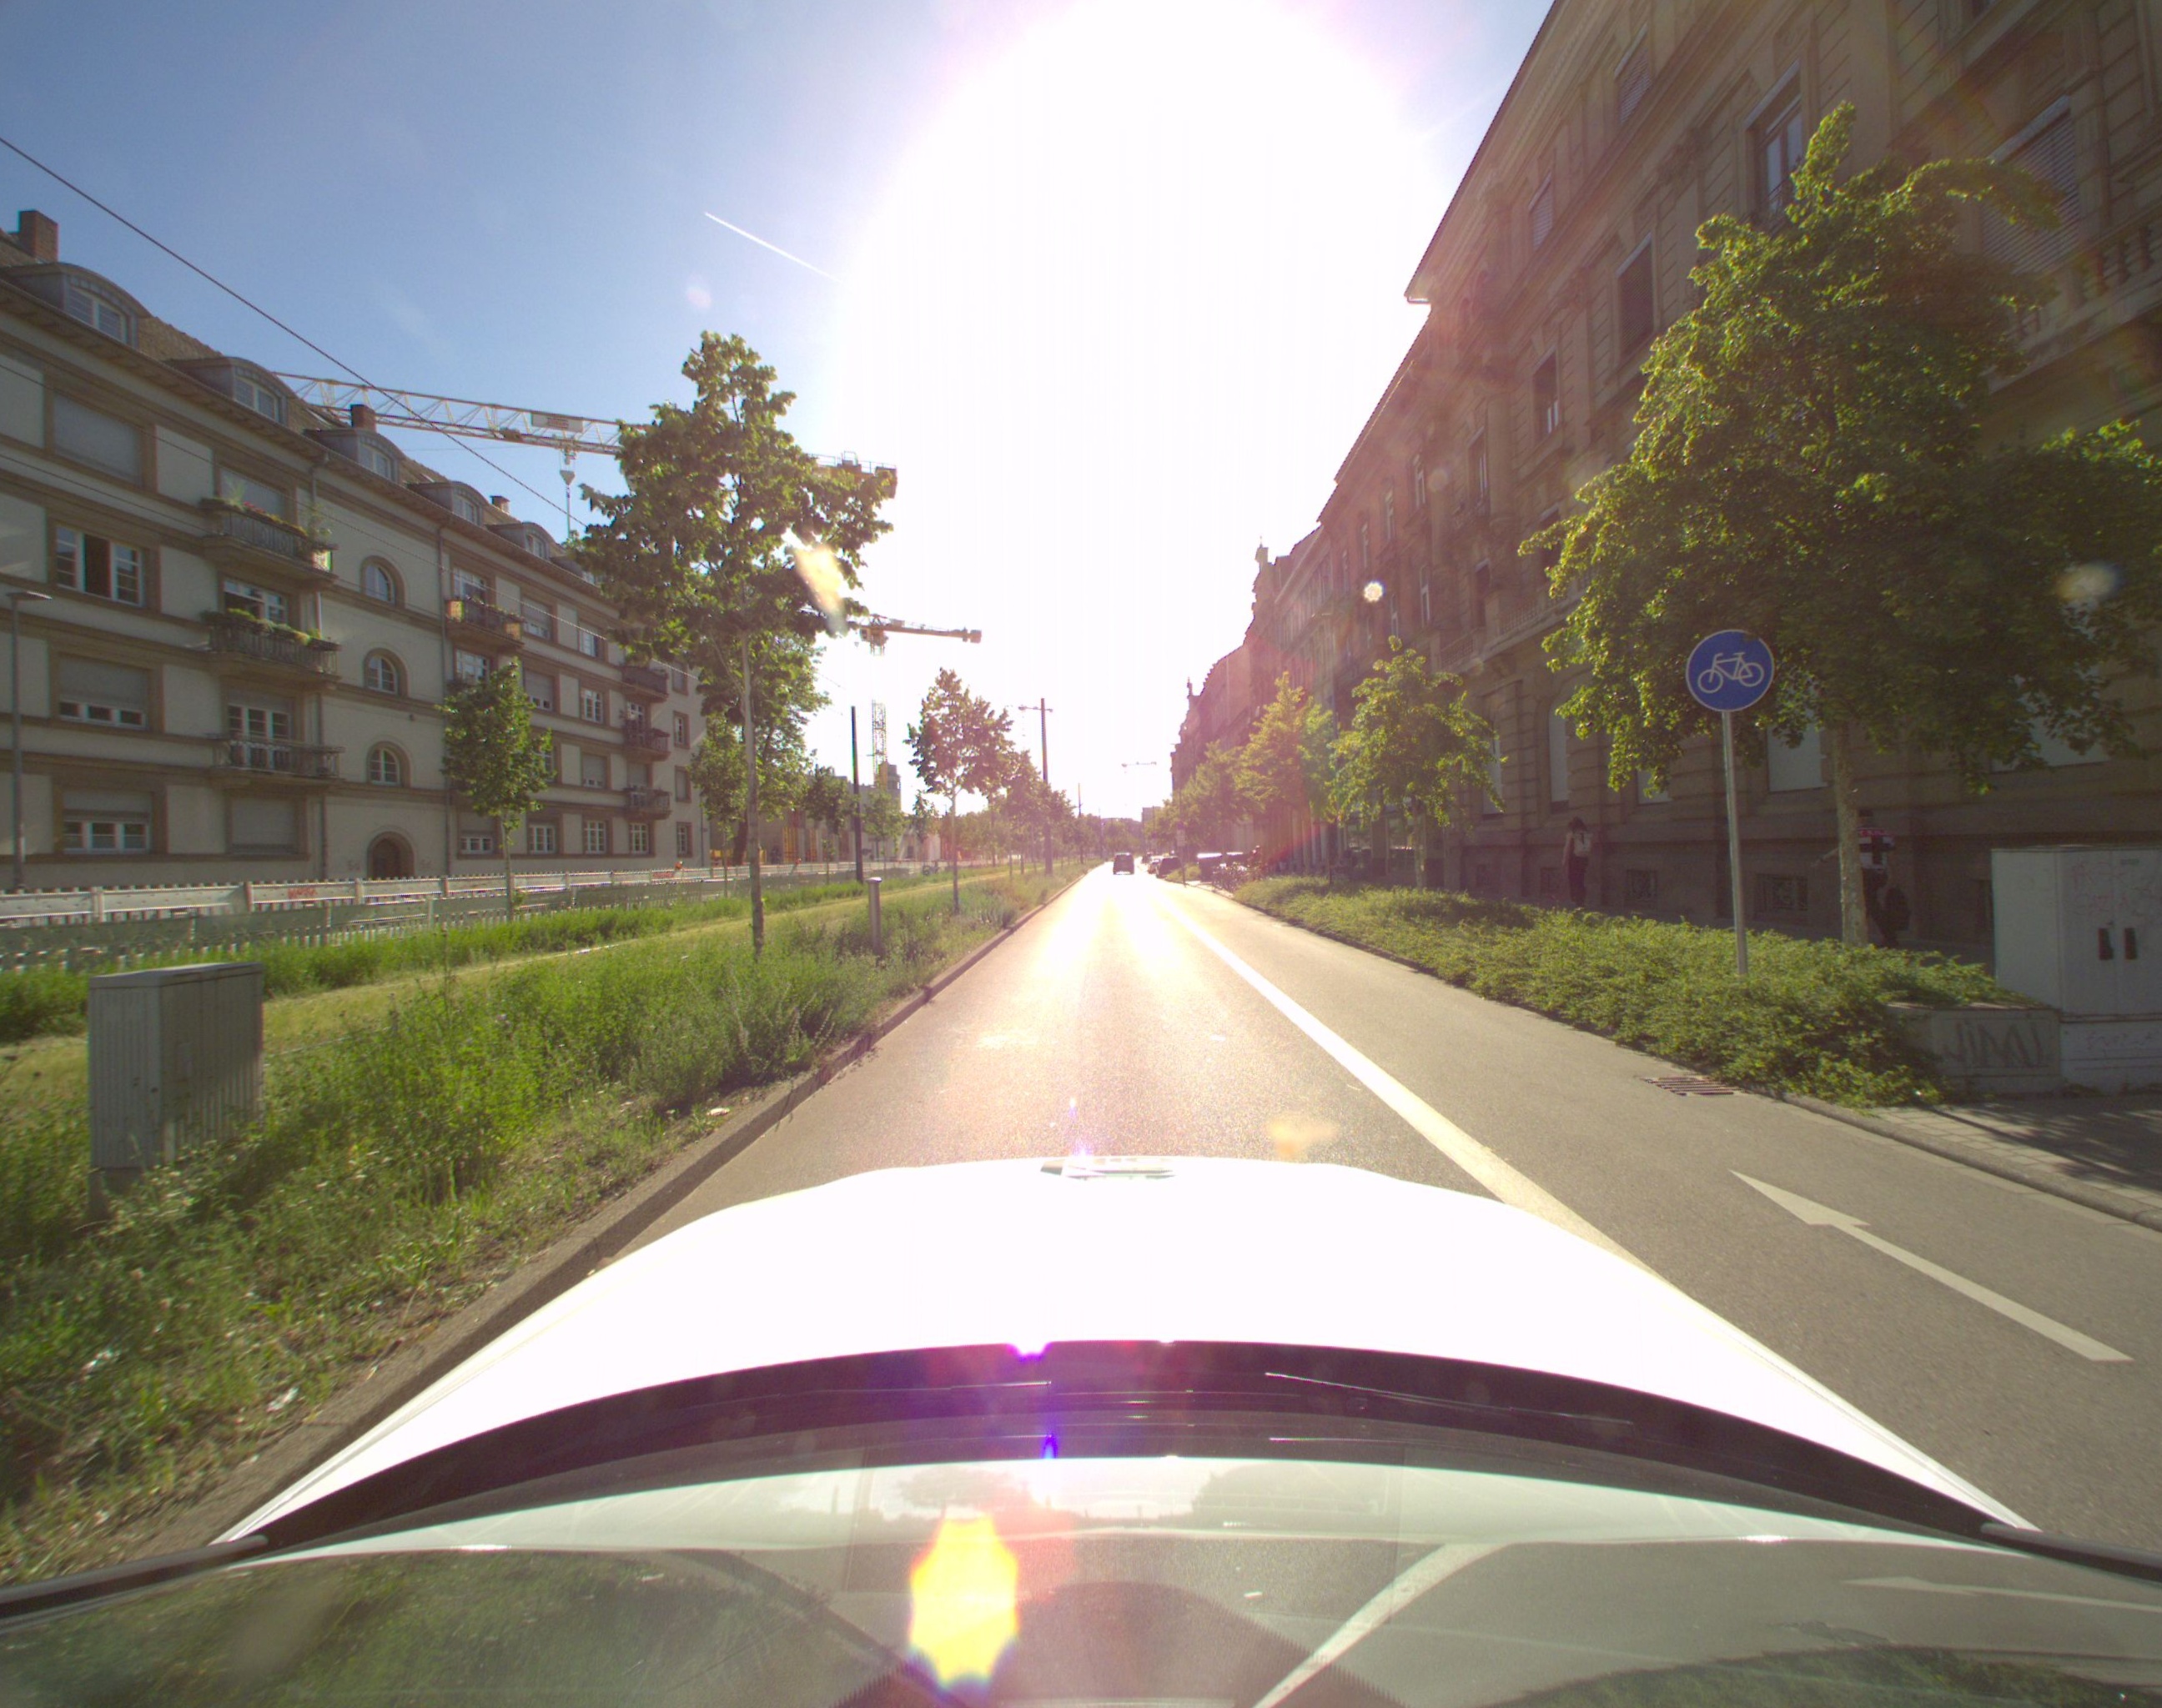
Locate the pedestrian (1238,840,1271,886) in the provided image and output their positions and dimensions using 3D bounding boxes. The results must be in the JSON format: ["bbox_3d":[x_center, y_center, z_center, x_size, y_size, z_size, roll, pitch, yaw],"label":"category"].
[{"bbox_3d":[6.831,0.353,32.122,0.898,1.735,0.848,-6,0,-6],"label":"pedestrian"}]

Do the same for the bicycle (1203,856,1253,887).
[{"bbox_3d":[6.365,0.760,35.309,1.970,1.124,0.481,-6,1,-4],"label":"bicycle"}]

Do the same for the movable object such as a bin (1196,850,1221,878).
[{"bbox_3d":[7.118,0.552,45.546,1.264,1.463,1.647,-1,2,7],"label":"movable object such as a bin"}]

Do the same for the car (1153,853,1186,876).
[{"bbox_3d":[6.275,0.751,58.456,1.760,1.477,4.447,-4,-1,0],"label":"car"}]

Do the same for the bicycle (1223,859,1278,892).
[{"bbox_3d":[6.344,0.787,30.488,1.887,1.108,0.517,-4,-1,-3],"label":"bicycle"}]

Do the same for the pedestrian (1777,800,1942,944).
[{"bbox_3d":[9.972,0.219,10.495,0.965,1.692,1.115,-4,-1,3],"label":"pedestrian"}]

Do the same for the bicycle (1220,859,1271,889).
[{"bbox_3d":[6.442,0.786,31.959,1.811,1.056,0.571,-4,-1,-4],"label":"bicycle"}]

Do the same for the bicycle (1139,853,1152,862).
[{"bbox_3d":[10.181,0.533,128.488,1.875,1.233,0.499,-4,-1,-4],"label":"bicycle"}]

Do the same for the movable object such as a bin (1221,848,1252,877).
[{"bbox_3d":[8.713,0.495,45.680,1.368,1.495,1.750,-5,-1,3],"label":"movable object such as a bin"}]

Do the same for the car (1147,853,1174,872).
[{"bbox_3d":[6.894,0.715,71.158,1.944,1.495,5.108,-4,0,2],"label":"car"}]

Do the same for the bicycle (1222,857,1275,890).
[{"bbox_3d":[6.335,0.732,30.843,1.860,1.179,0.373,-3,-1,-1],"label":"bicycle"}]

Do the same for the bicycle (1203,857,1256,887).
[{"bbox_3d":[6.355,0.753,34.901,2.040,1.107,0.610,-5,-1,-4],"label":"bicycle"}]

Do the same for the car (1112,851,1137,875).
[{"bbox_3d":[3.782,0.771,71.762,1.987,2.014,3.999,-1,-1,0],"label":"car"}]

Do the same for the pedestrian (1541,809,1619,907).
[{"bbox_3d":[10.287,0.080,16.834,0.885,1.920,1.100,-4,-1,7],"label":"pedestrian"}]

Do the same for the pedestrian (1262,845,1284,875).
[{"bbox_3d":[10.440,0.300,44.326,0.947,1.566,1.080,-3,1,1],"label":"pedestrian"}]

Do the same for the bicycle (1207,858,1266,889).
[{"bbox_3d":[6.393,0.798,33.471,2.287,1.102,0.484,-4,-1,-13],"label":"bicycle"}]

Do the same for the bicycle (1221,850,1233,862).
[{"bbox_3d":[13.374,0.172,74.756,0.718,1.090,2.200,-3,0,2],"label":"bicycle"}]

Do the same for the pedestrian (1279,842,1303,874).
[{"bbox_3d":[11.415,0.201,44.248,0.967,1.639,0.993,-3,1,2],"label":"pedestrian"}]

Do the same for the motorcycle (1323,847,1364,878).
[{"bbox_3d":[11.294,0.372,35.124,0.862,1.266,2.983,-1,-1,2],"label":"motorcycle"}]

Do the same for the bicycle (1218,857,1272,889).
[{"bbox_3d":[6.497,0.755,32.302,1.971,1.108,0.435,-4,-1,-1],"label":"bicycle"}]

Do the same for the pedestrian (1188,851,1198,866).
[{"bbox_3d":[13.025,0.491,94.708,0.992,1.731,0.866,-1,-1,2],"label":"pedestrian"}]

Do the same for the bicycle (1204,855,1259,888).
[{"bbox_3d":[6.263,0.727,33.819,2.148,1.154,0.428,-5,0,-12],"label":"bicycle"}]
